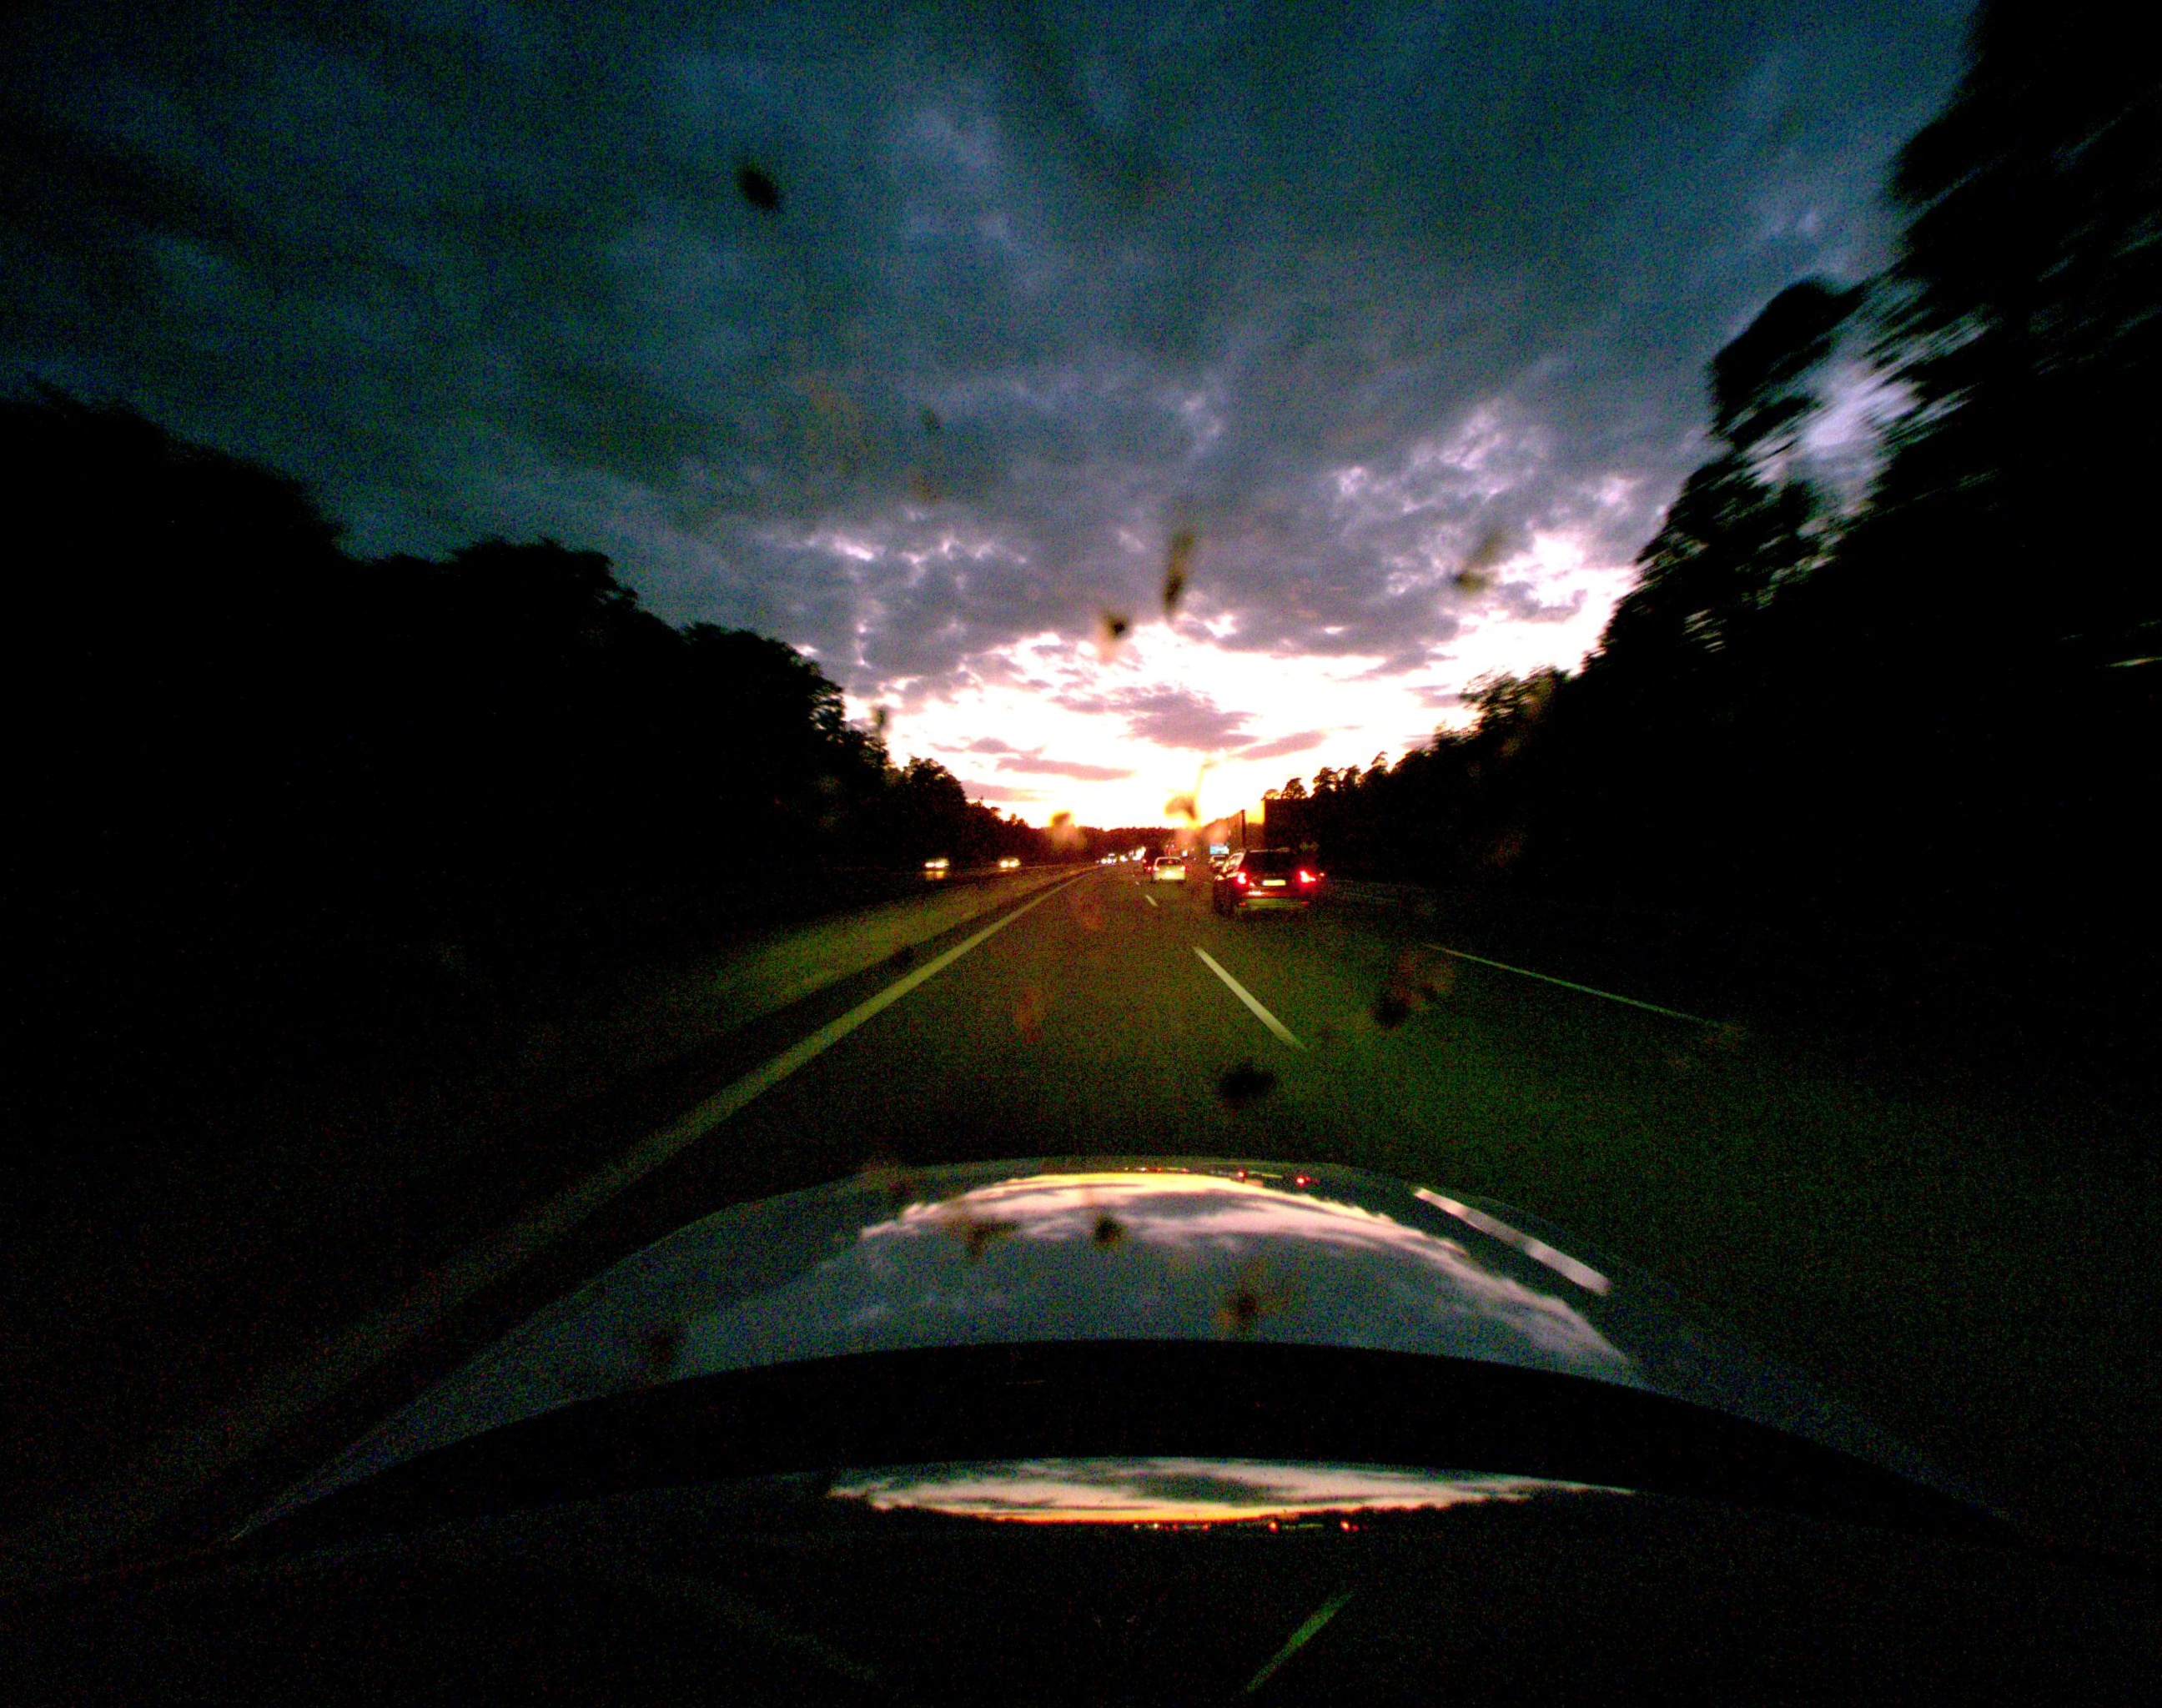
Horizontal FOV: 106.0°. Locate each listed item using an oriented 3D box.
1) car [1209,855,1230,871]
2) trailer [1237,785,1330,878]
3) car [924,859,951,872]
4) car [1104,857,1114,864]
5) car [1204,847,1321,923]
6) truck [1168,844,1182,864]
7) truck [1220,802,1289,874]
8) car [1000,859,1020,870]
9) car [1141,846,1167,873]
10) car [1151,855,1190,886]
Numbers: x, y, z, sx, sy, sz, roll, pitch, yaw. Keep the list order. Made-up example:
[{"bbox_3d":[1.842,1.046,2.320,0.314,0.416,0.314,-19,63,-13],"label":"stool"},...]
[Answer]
[{"bbox_3d":[14.373,0.935,84.573,1.997,1.538,4.009,-1,-1,8],"label":"car"},{"bbox_3d":[9.999,-0.938,41.334,2.893,4.101,10.370,-1,-1,5],"label":"trailer"},{"bbox_3d":[-17.161,1.319,97.580,1.831,1.463,4.011,0,0,10],"label":"car"},{"bbox_3d":[7.428,1.711,215.346,1.983,1.638,5.120,0,0,6],"label":"car"},{"bbox_3d":[4.435,0.681,20.708,1.896,1.643,5.053,-1,0,1],"label":"car"},{"bbox_3d":[28.986,0.115,251.610,4.128,5.856,14.320,-1,-1,6],"label":"truck"},{"bbox_3d":[10.843,-0.856,51.884,2.871,4.101,10.845,-1,-1,5],"label":"truck"},{"bbox_3d":[-9.366,1.382,107.931,1.834,1.463,4.782,0,0,5],"label":"car"},{"bbox_3d":[7.011,0.527,77.341,2.154,2.419,5.576,-1,-1,8],"label":"car"},{"bbox_3d":[4.754,0.848,43.738,1.851,1.442,3.724,-1,1,3],"label":"car"}]
